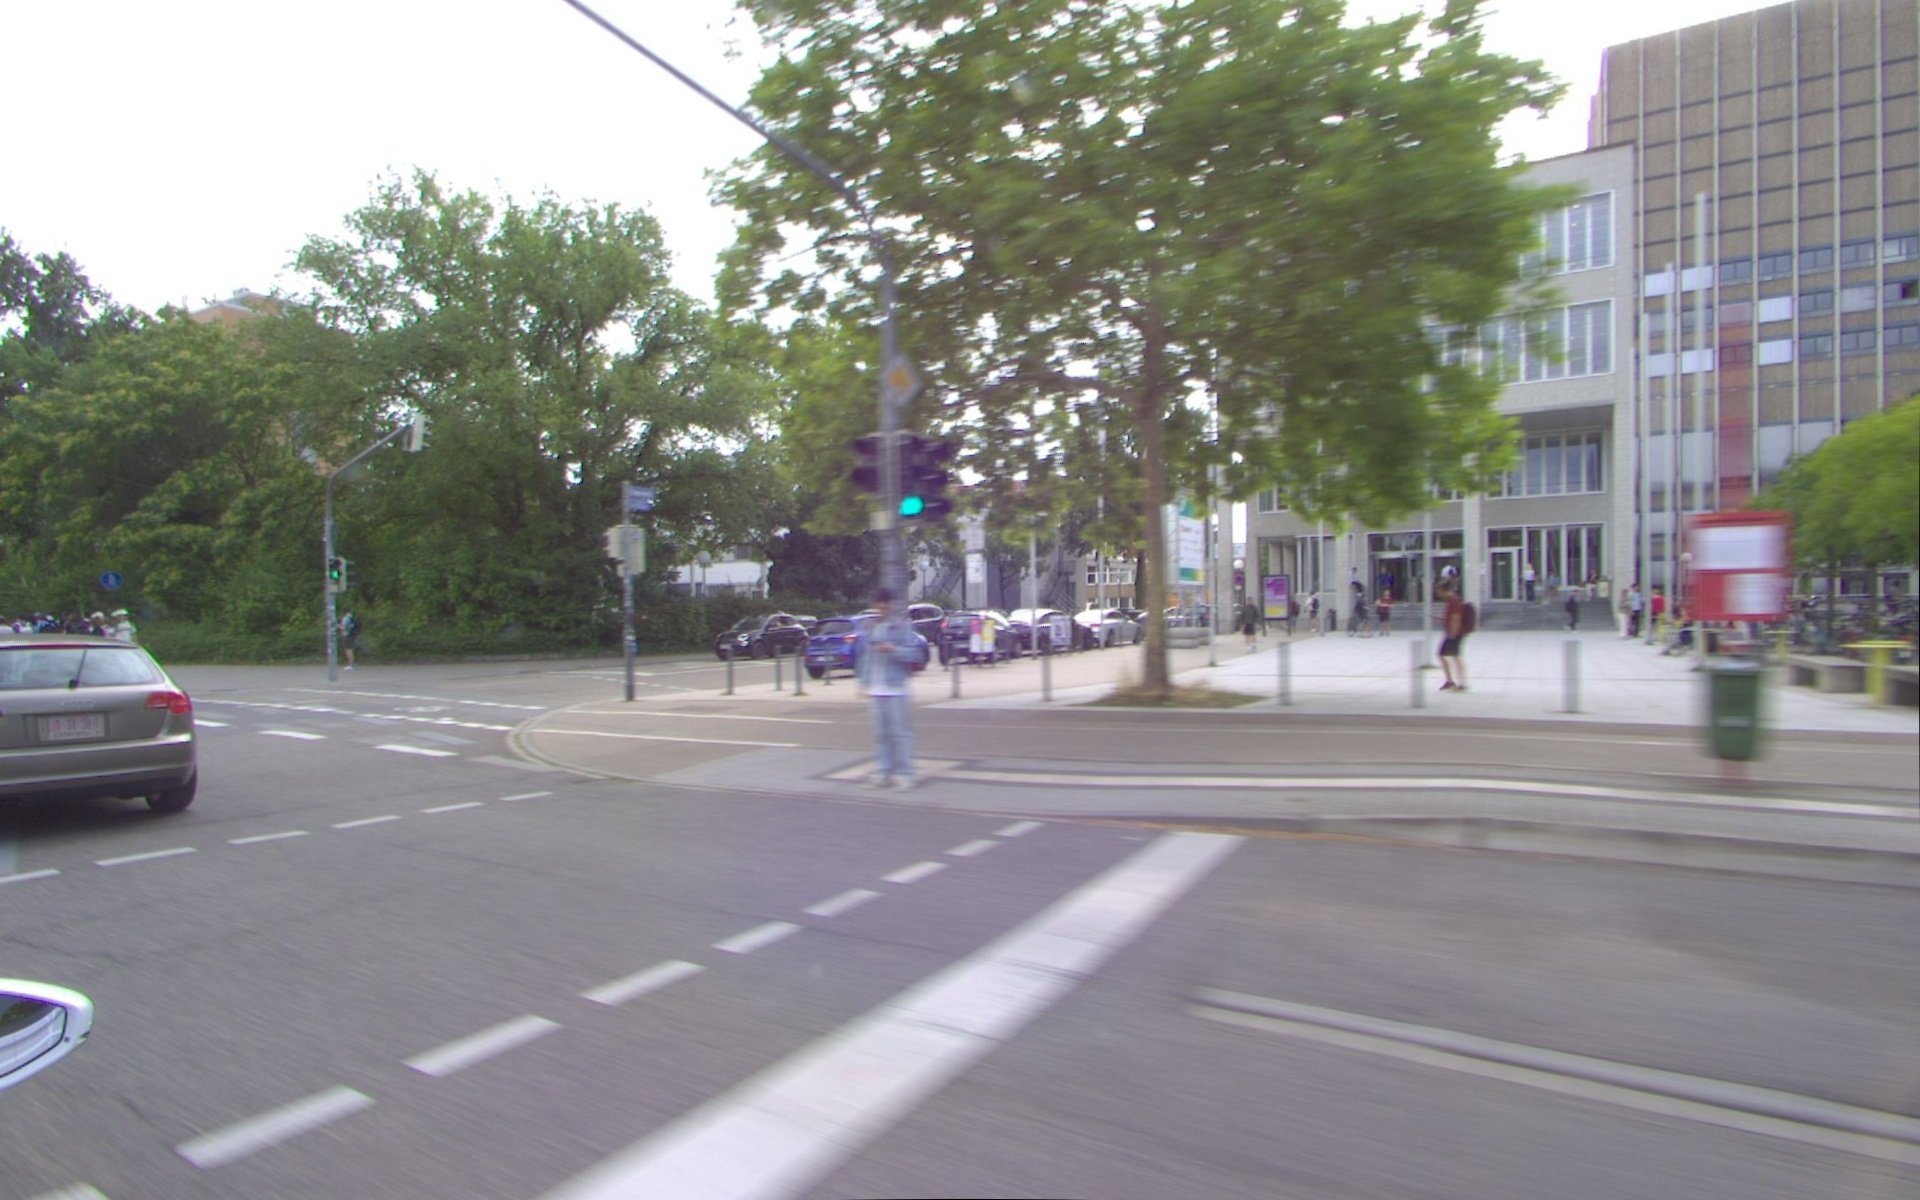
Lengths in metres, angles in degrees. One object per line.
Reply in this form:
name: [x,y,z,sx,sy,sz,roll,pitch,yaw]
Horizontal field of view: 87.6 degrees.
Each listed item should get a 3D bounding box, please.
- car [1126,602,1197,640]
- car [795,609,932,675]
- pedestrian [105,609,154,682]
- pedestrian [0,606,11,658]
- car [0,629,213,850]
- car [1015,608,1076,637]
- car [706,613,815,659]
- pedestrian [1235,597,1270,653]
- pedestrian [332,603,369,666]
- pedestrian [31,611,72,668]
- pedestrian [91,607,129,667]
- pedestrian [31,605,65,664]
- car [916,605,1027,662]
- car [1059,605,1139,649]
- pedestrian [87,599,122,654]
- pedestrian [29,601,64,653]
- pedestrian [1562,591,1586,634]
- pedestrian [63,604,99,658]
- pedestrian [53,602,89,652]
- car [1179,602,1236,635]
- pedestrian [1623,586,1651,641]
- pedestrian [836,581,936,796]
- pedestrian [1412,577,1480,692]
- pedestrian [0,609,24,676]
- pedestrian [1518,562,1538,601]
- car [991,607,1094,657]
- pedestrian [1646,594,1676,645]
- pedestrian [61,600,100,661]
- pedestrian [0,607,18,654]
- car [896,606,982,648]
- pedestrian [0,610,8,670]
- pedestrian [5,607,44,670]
car: [9.065,0.919,44.781,1.789,1.587,4.208,-2,-1,31]
car: [-2.358,1.012,25.210,1.650,1.511,3.565,-2,-1,31]
pedestrian: [-21.591,1.176,26.037,0.815,1.876,0.645,-1,-1,20]
pedestrian: [-34.583,1.144,35.878,0.801,1.845,0.654,0,1,35]
car: [-7.865,1.001,8.224,3.686,1.476,1.719,-1,0,35]
car: [4.534,1.152,52.610,1.660,1.461,3.765,-2,-1,32]
car: [-6.722,1.191,34.080,1.660,1.461,3.564,-2,-1,32]
pedestrian: [9.352,0.803,32.022,0.944,1.730,0.696,1,-1,-40]
pedestrian: [-17.883,0.999,29.385,0.730,1.819,0.643,0,0,32]
pedestrian: [-29.069,1.252,32.037,0.944,1.790,0.655,0,2,33]
pedestrian: [-25.711,1.107,30.285,0.769,1.768,0.655,0,1,33]
pedestrian: [-28.027,1.054,30.772,0.778,1.768,0.580,0,1,33]
car: [0.397,0.957,29.568,1.650,1.587,3.677,-2,-1,31]
car: [5.360,1.000,38.148,1.650,1.587,3.814,-2,-1,31]
pedestrian: [-27.623,0.848,32.329,0.769,1.768,0.655,0,1,33]
pedestrian: [-30.171,0.880,33.075,0.830,1.712,0.655,0,1,33]
pedestrian: [23.820,0.502,38.838,0.625,1.661,0.598,1,-1,-35]
pedestrian: [-28.593,0.995,32.579,0.769,1.722,0.655,0,1,33]
pedestrian: [-30.433,0.923,34.268,0.957,1.689,0.655,0,1,33]
car: [12.491,0.918,50.387,1.650,1.587,3.970,-2,-1,31]
pedestrian: [23.417,0.473,34.630,0.591,1.867,0.727,0,-1,17]
pedestrian: [-0.663,0.766,9.006,0.672,1.841,0.571,0,0,35]
pedestrian: [8.012,0.569,16.502,0.880,1.827,0.765,-1,-1,36]
pedestrian: [-24.681,1.088,25.882,0.628,1.709,0.544,0,0,32]
pedestrian: [25.611,-0.824,45.145,0.665,1.736,0.626,1,-1,-41]
car: [2.852,1.042,33.685,1.650,1.587,4.431,-2,-1,31]
pedestrian: [22.800,0.642,32.573,0.592,1.617,0.726,0,-1,19]
pedestrian: [-26.113,0.904,29.722,0.769,1.768,0.655,0,1,33]
pedestrian: [-36.297,1.150,38.138,0.655,1.787,0.483,0,1,35]
car: [-0.836,1.131,43.192,1.660,1.714,4.273,-2,-1,32]
pedestrian: [-28.520,1.180,29.399,0.769,1.768,0.655,0,1,33]
pedestrian: [-26.873,1.093,28.763,0.769,1.768,0.623,0,1,33]
